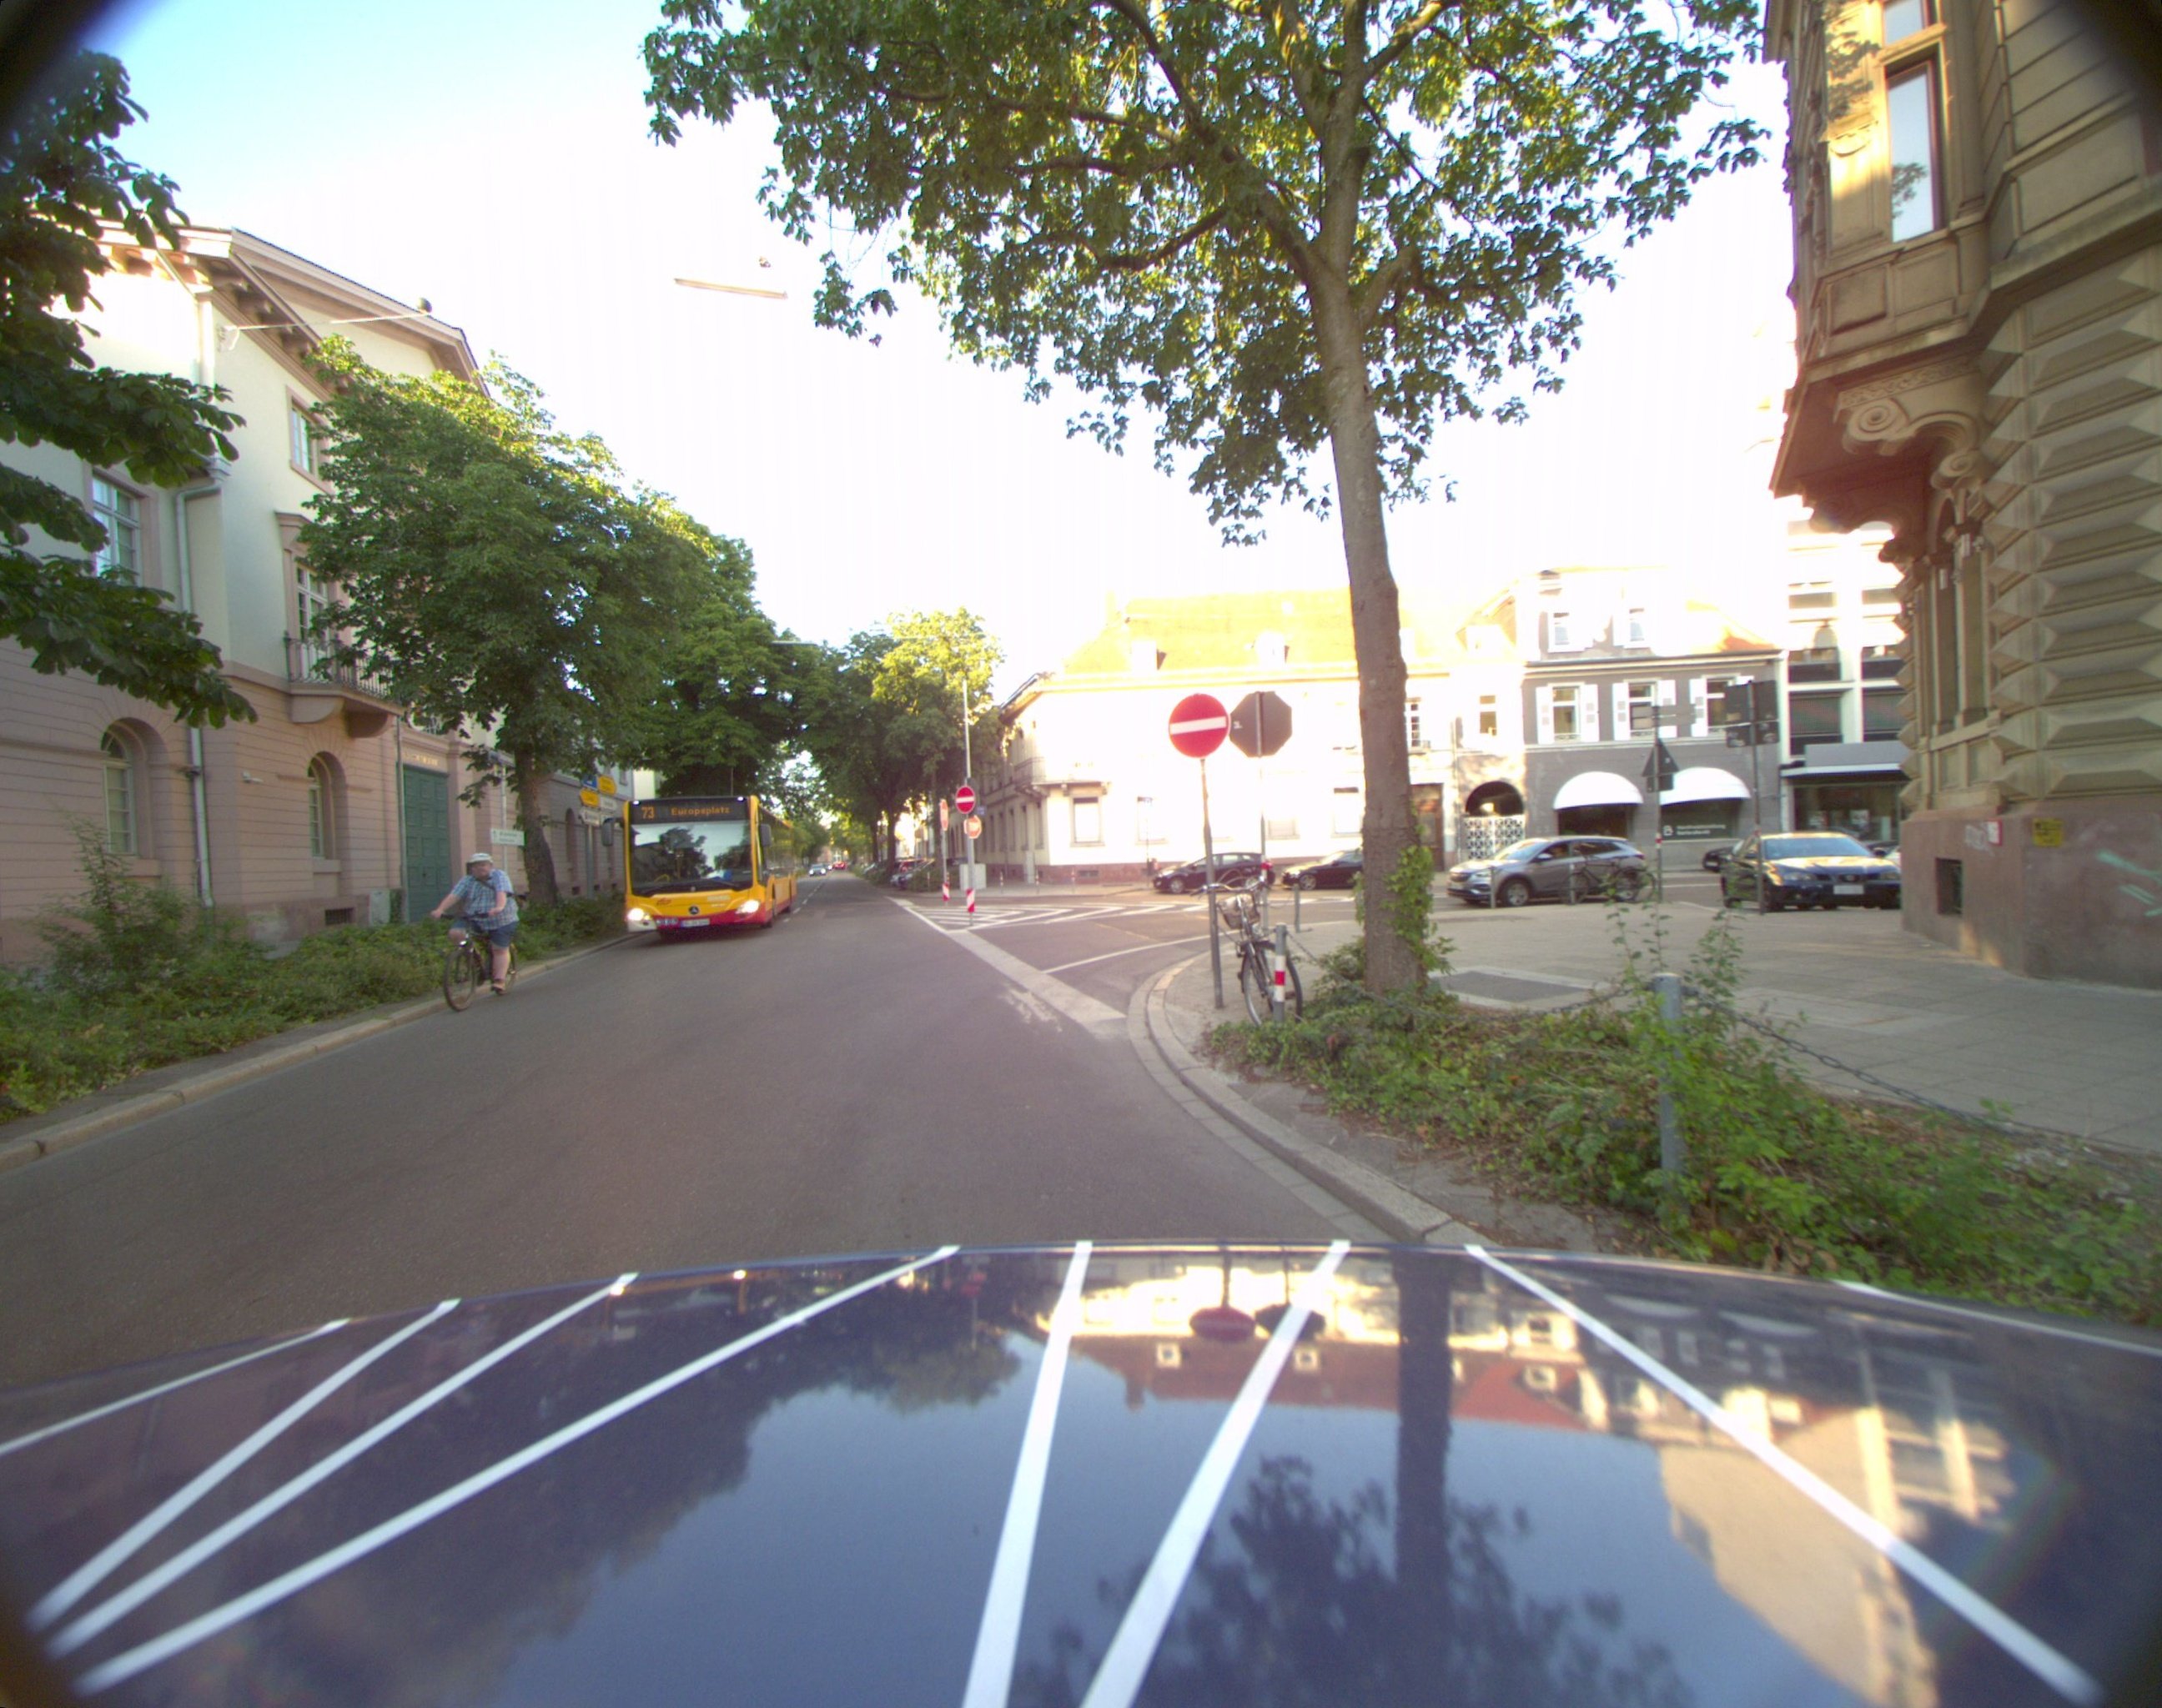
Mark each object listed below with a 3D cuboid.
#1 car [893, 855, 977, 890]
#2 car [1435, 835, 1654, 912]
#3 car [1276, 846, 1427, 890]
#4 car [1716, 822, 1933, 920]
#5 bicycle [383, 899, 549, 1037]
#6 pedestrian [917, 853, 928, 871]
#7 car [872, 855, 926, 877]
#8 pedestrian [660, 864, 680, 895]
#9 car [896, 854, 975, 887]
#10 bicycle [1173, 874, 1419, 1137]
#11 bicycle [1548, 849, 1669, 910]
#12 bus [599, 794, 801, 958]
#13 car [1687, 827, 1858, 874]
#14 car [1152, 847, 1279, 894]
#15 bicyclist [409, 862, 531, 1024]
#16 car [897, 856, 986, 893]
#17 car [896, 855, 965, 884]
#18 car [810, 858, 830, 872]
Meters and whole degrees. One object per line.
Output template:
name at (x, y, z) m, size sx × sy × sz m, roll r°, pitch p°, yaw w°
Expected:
car at (-7.603, 0.911, 39.448) m, size 4.003 × 1.606 × 1.721 m, roll -2°, pitch 1°, yaw -19°
car at (10.948, 0.418, 18.096) m, size 4.236 × 1.580 × 1.690 m, roll -2°, pitch 1°, yaw -4°
car at (9.726, 0.515, 27.615) m, size 4.851 × 1.386 × 1.780 m, roll -2°, pitch 0°, yaw 7°
car at (12.694, 0.331, 13.290) m, size 1.736 × 1.452 × 3.872 m, roll -2°, pitch -3°, yaw 29°
bicycle at (-7.416, 1.298, 9.314) m, size 0.784 × 1.322 × 2.075 m, roll -4°, pitch 1°, yaw -18°
pedestrian at (-16.188, 0.835, 77.413) m, size 0.896 × 1.760 × 1.020 m, roll -2°, pitch 1°, yaw -18°
car at (-14.550, 0.952, 60.755) m, size 4.003 × 1.606 × 1.721 m, roll -2°, pitch 1°, yaw -19°
pedestrian at (-24.535, 1.525, 45.369) m, size 0.801 × 1.821 × 0.928 m, roll -2°, pitch 1°, yaw -20°
car at (-8.040, 0.907, 41.855) m, size 4.003 × 1.606 × 1.721 m, roll -2°, pitch 1°, yaw -19°
bicycle at (1.270, 0.816, 5.207) m, size 0.845 × 1.260 × 2.572 m, roll -2°, pitch 0°, yaw -2°
bicycle at (10.510, 0.521, 15.207) m, size 1.800 × 1.119 × 0.729 m, roll -2°, pitch -2°, yaw 14°
bus at (-9.477, 0.419, 20.541) m, size 2.715 × 2.983 × 12.064 m, roll -4°, pitch 1°, yaw -17°
car at (24.247, -0.115, 26.777) m, size 4.244 × 1.438 × 1.748 m, roll -2°, pitch 0°, yaw 5°
car at (4.896, 0.611, 28.116) m, size 4.425 × 1.532 × 1.808 m, roll -2°, pitch 0°, yaw 5°
bicyclist at (-7.427, 1.038, 9.291) m, size 0.784 × 1.829 × 0.825 m, roll -4°, pitch 2°, yaw -18°
car at (-6.846, 0.958, 37.173) m, size 4.003 × 1.606 × 1.826 m, roll -2°, pitch 1°, yaw -19°
car at (-9.400, 0.921, 47.486) m, size 4.003 × 1.606 × 1.721 m, roll -2°, pitch 1°, yaw -19°
car at (-32.963, 1.331, 96.093) m, size 2.084 × 1.687 × 3.994 m, roll -2°, pitch 0°, yaw -16°
